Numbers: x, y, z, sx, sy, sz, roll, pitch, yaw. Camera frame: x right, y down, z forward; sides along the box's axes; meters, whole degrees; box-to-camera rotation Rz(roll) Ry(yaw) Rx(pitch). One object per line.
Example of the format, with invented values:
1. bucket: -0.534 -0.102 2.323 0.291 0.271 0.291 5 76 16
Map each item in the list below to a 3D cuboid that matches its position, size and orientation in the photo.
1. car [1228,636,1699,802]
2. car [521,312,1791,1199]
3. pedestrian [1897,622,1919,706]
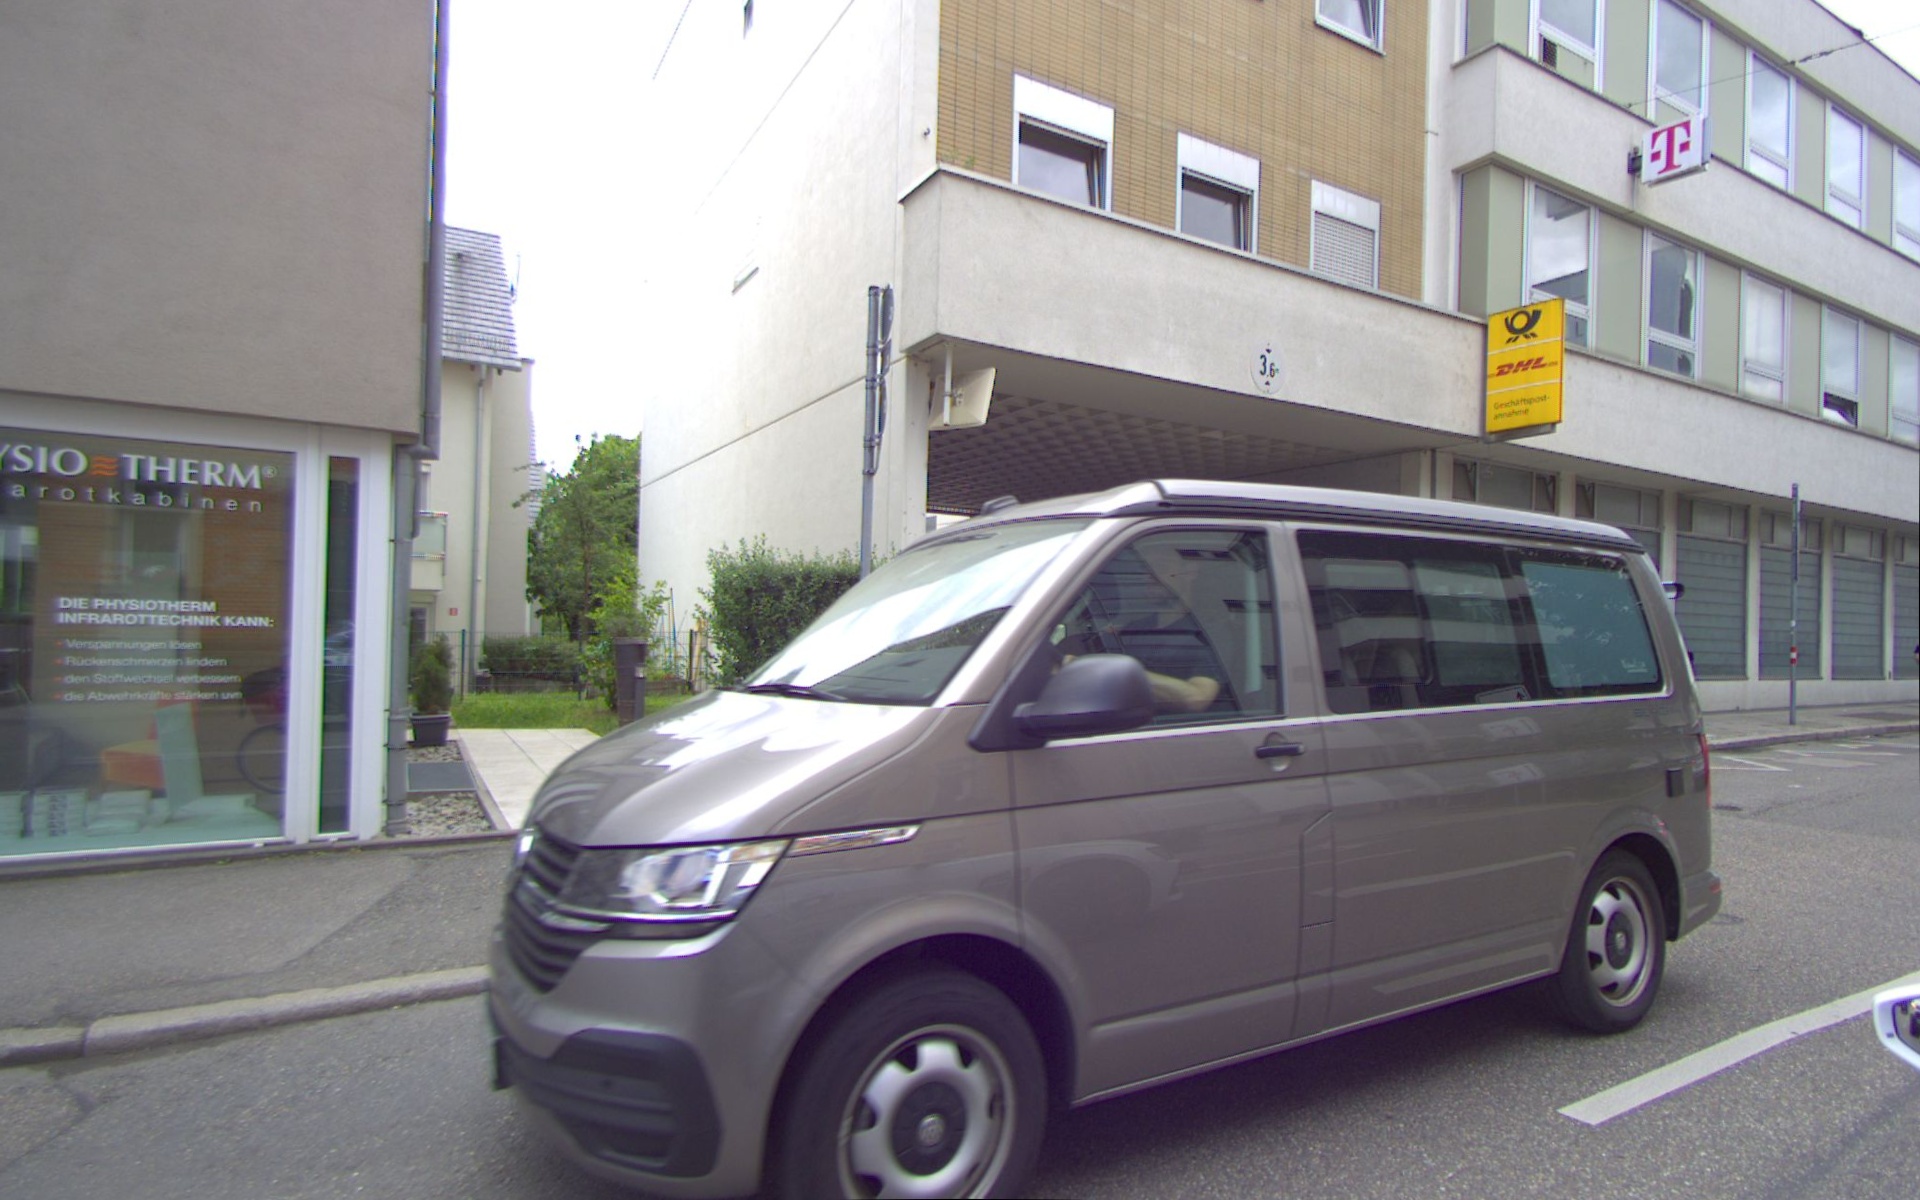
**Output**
1. car: 5.368 1.154 11.090 4.336 1.384 1.782 1 -1 32
2. car: 1.015 0.561 3.979 4.845 2.040 1.984 2 -2 -30
3. pedestrian: 21.003 1.390 21.878 0.800 1.793 0.639 1 0 -30
